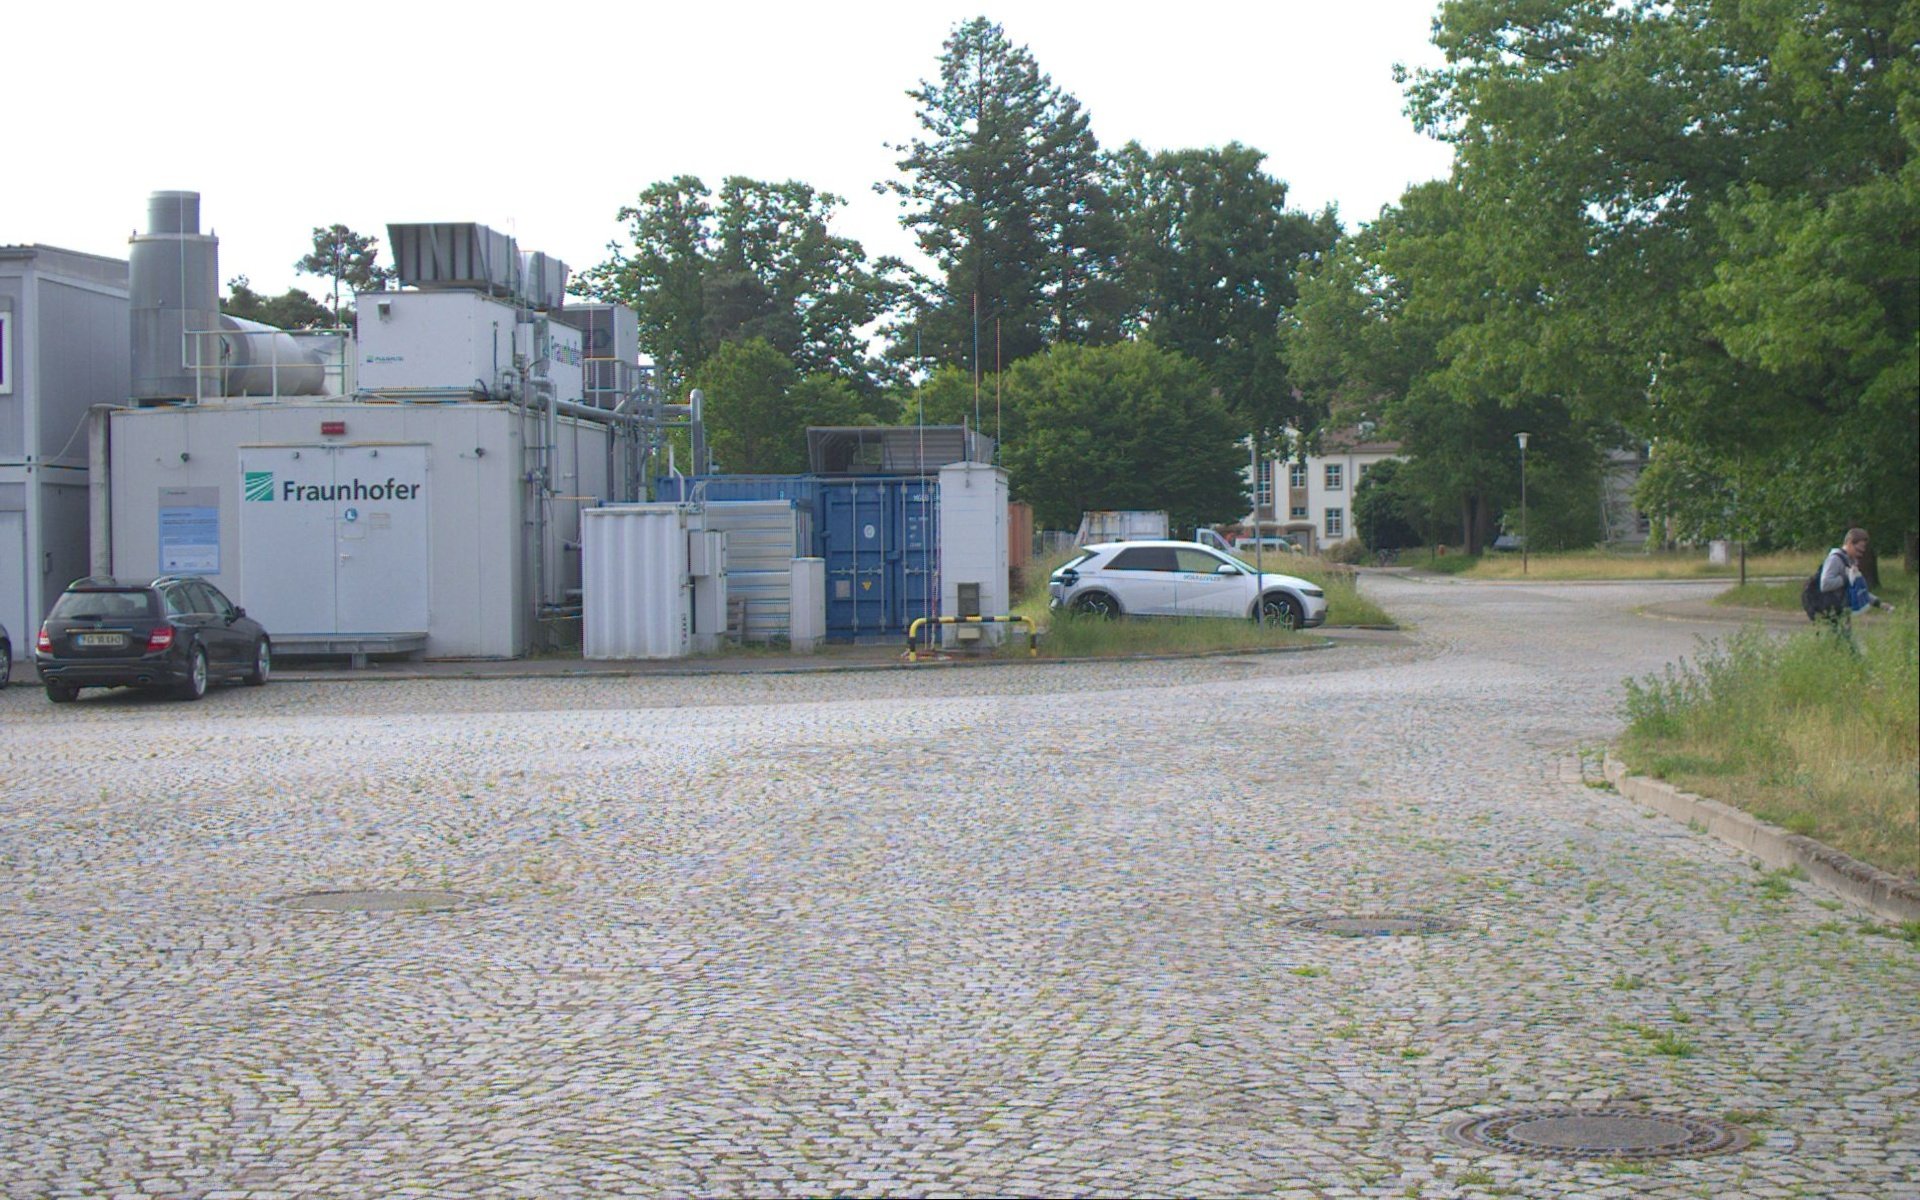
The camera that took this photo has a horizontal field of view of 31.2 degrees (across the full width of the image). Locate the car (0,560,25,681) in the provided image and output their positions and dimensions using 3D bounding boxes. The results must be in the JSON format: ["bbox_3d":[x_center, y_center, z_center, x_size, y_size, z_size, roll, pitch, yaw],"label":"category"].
[{"bbox_3d":[-12.852,0.314,41.440,1.906,1.471,4.047,-1,2,2],"label":"car"}]

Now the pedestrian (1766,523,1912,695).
[{"bbox_3d":[8.124,0.077,31.752,1.077,1.551,1.073,0,1,28],"label":"pedestrian"}]

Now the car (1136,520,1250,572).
[{"bbox_3d":[10.760,-2.491,158.581,5.171,2.329,2.000,-1,1,4],"label":"car"}]

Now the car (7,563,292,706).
[{"bbox_3d":[-9.589,0.371,41.050,2.036,1.448,4.529,-1,2,4],"label":"car"}]

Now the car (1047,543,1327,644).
[{"bbox_3d":[3.815,-0.114,57.258,4.535,1.594,2.000,-1,1,7],"label":"car"}]
